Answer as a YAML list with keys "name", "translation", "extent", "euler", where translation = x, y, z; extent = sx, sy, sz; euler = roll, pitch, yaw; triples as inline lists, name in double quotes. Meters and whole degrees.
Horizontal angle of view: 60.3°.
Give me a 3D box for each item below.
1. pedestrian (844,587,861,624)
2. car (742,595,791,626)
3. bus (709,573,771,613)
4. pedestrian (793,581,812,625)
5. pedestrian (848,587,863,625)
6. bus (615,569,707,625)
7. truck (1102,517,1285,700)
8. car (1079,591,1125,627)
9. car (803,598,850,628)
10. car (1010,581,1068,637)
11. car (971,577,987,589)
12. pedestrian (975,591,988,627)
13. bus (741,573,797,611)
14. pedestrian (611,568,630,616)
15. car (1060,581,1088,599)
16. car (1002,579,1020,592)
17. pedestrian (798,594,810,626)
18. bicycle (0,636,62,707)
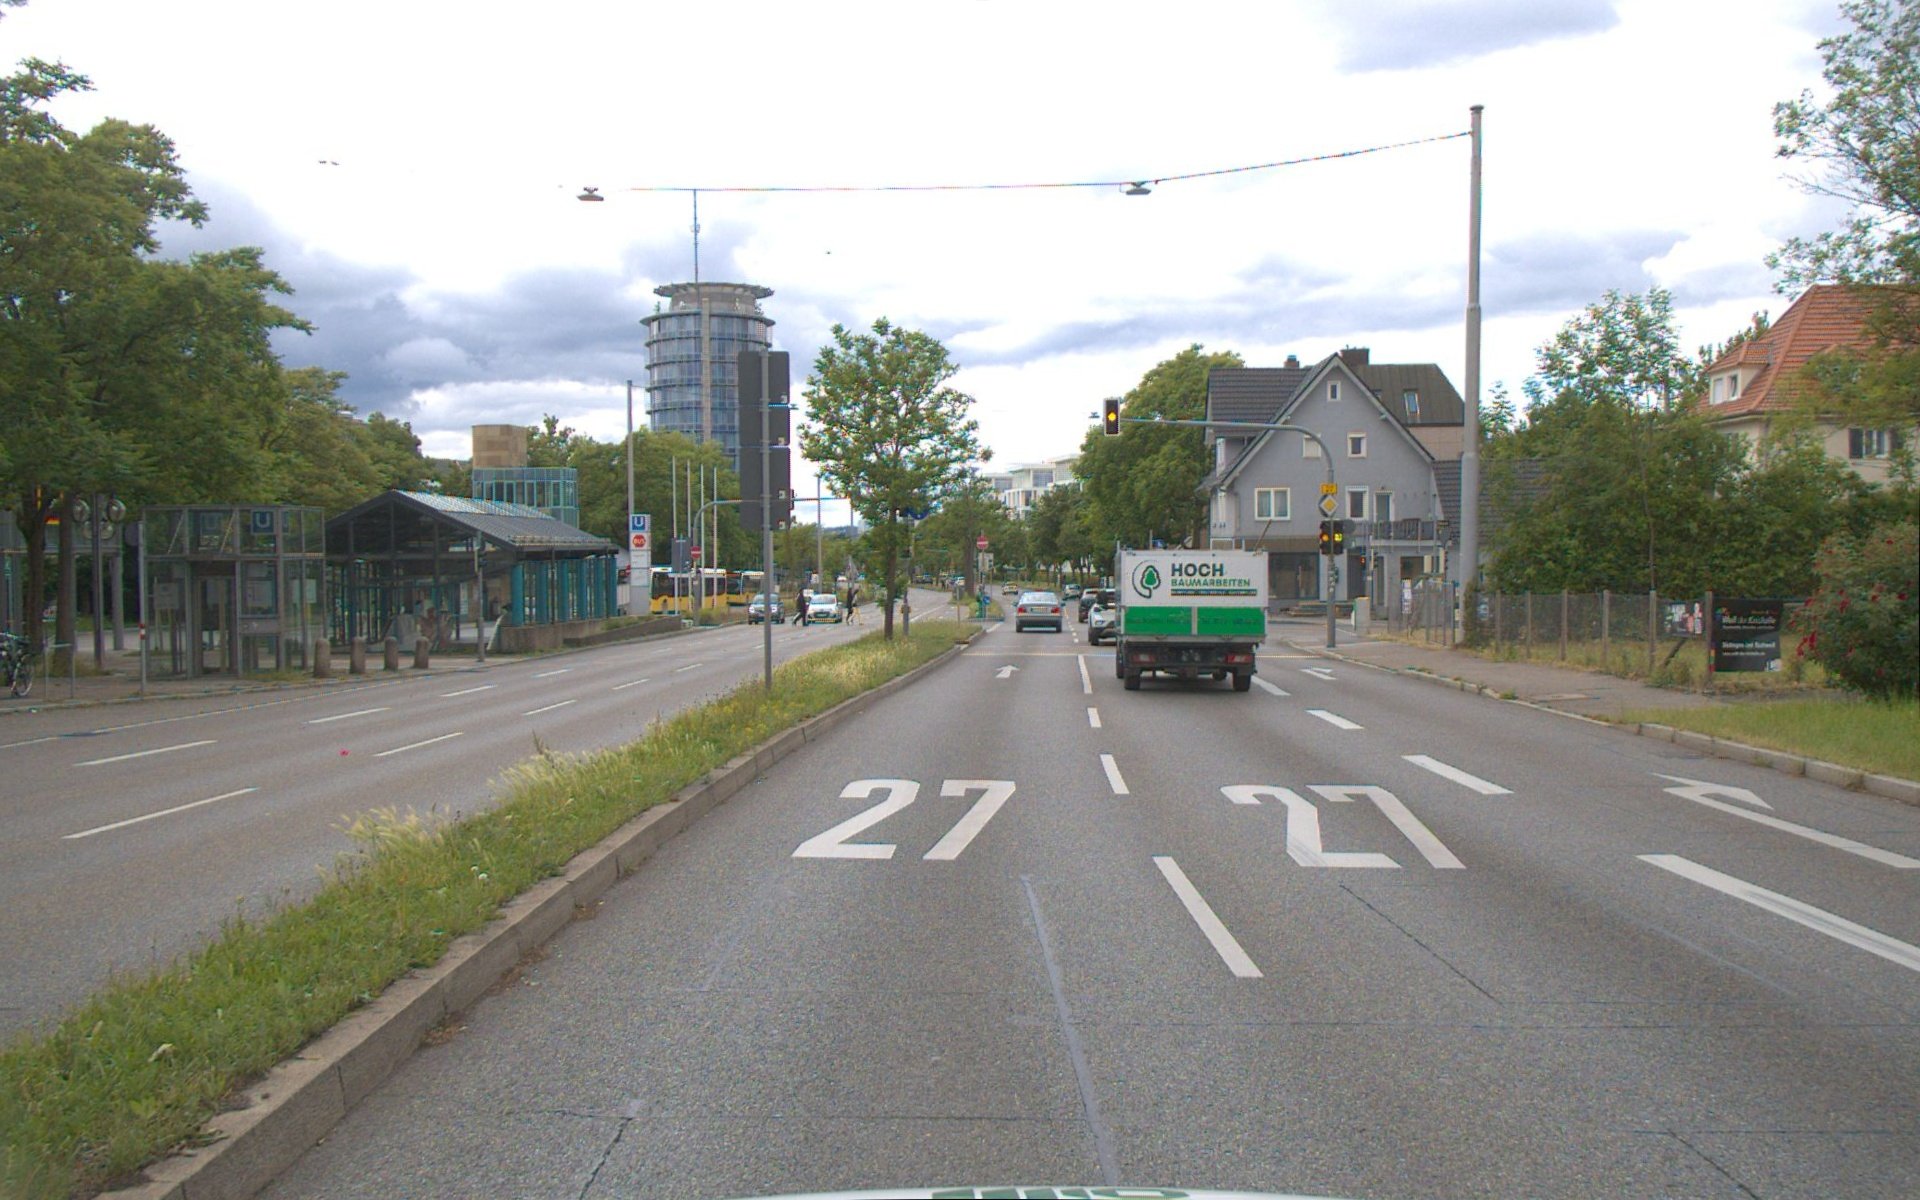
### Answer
- name: "pedestrian"
  translation: [-5.064, 0.265, 77.867]
  extent: [0.730, 1.746, 0.582]
  euler: [-1, 0, -3]
- name: "car"
  translation: [-10.187, 0.539, 87.329]
  extent: [1.952, 1.512, 4.001]
  euler: [-1, 0, 2]
- name: "bus"
  translation: [-20.051, -0.648, 151.332]
  extent: [2.771, 3.490, 10.742]
  euler: [-1, 0, 8]
- name: "pedestrian"
  translation: [-7.375, 0.145, 77.432]
  extent: [0.813, 2.049, 0.545]
  euler: [-1, 0, -3]
- name: "pedestrian"
  translation: [-4.878, 0.271, 77.301]
  extent: [0.640, 1.746, 0.452]
  euler: [-1, 0, -3]
- name: "bus"
  translation: [-19.620, -0.210, 109.323]
  extent: [2.771, 3.490, 10.742]
  euler: [-1, 0, 8]
- name: "truck"
  translation: [3.698, 0.046, 27.484]
  extent: [2.419, 2.657, 6.551]
  euler: [0, 1, 3]
- name: "car"
  translation: [6.324, 0.380, 74.163]
  extent: [1.952, 1.579, 4.002]
  euler: [0, 0, 3]
- name: "car"
  translation: [-6.997, 0.665, 86.769]
  extent: [1.952, 1.512, 4.001]
  euler: [-1, 0, 2]
- name: "car"
  translation: [2.815, 0.303, 58.292]
  extent: [1.952, 1.862, 4.002]
  euler: [1, 0, 3]
- name: "car"
  translation: [2.462, -2.199, 211.873]
  extent: [1.953, 1.545, 4.000]
  euler: [-1, 0, 0]
- name: "pedestrian"
  translation: [1.068, 0.447, 80.722]
  extent: [0.572, 1.746, 0.545]
  euler: [-1, 0, -3]
- name: "bus"
  translation: [-18.630, -0.773, 162.006]
  extent: [2.771, 3.490, 10.742]
  euler: [-1, 0, 8]
- name: "pedestrian"
  translation: [-14.515, -0.331, 70.717]
  extent: [0.667, 2.049, 0.645]
  euler: [-1, 0, -1]
- name: "car"
  translation: [10.281, -0.894, 149.182]
  extent: [1.955, 1.579, 3.996]
  euler: [-1, 0, -5]
- name: "car"
  translation: [6.109, -1.750, 197.946]
  extent: [1.953, 1.545, 4.000]
  euler: [-1, 0, 0]
- name: "pedestrian"
  translation: [-7.361, 0.479, 78.096]
  extent: [0.532, 1.522, 0.486]
  euler: [-1, 0, -1]
- name: "bicycle"
  translation: [-15.928, 1.191, 27.856]
  extent: [0.815, 1.102, 1.931]
  euler: [-1, 0, -10]
